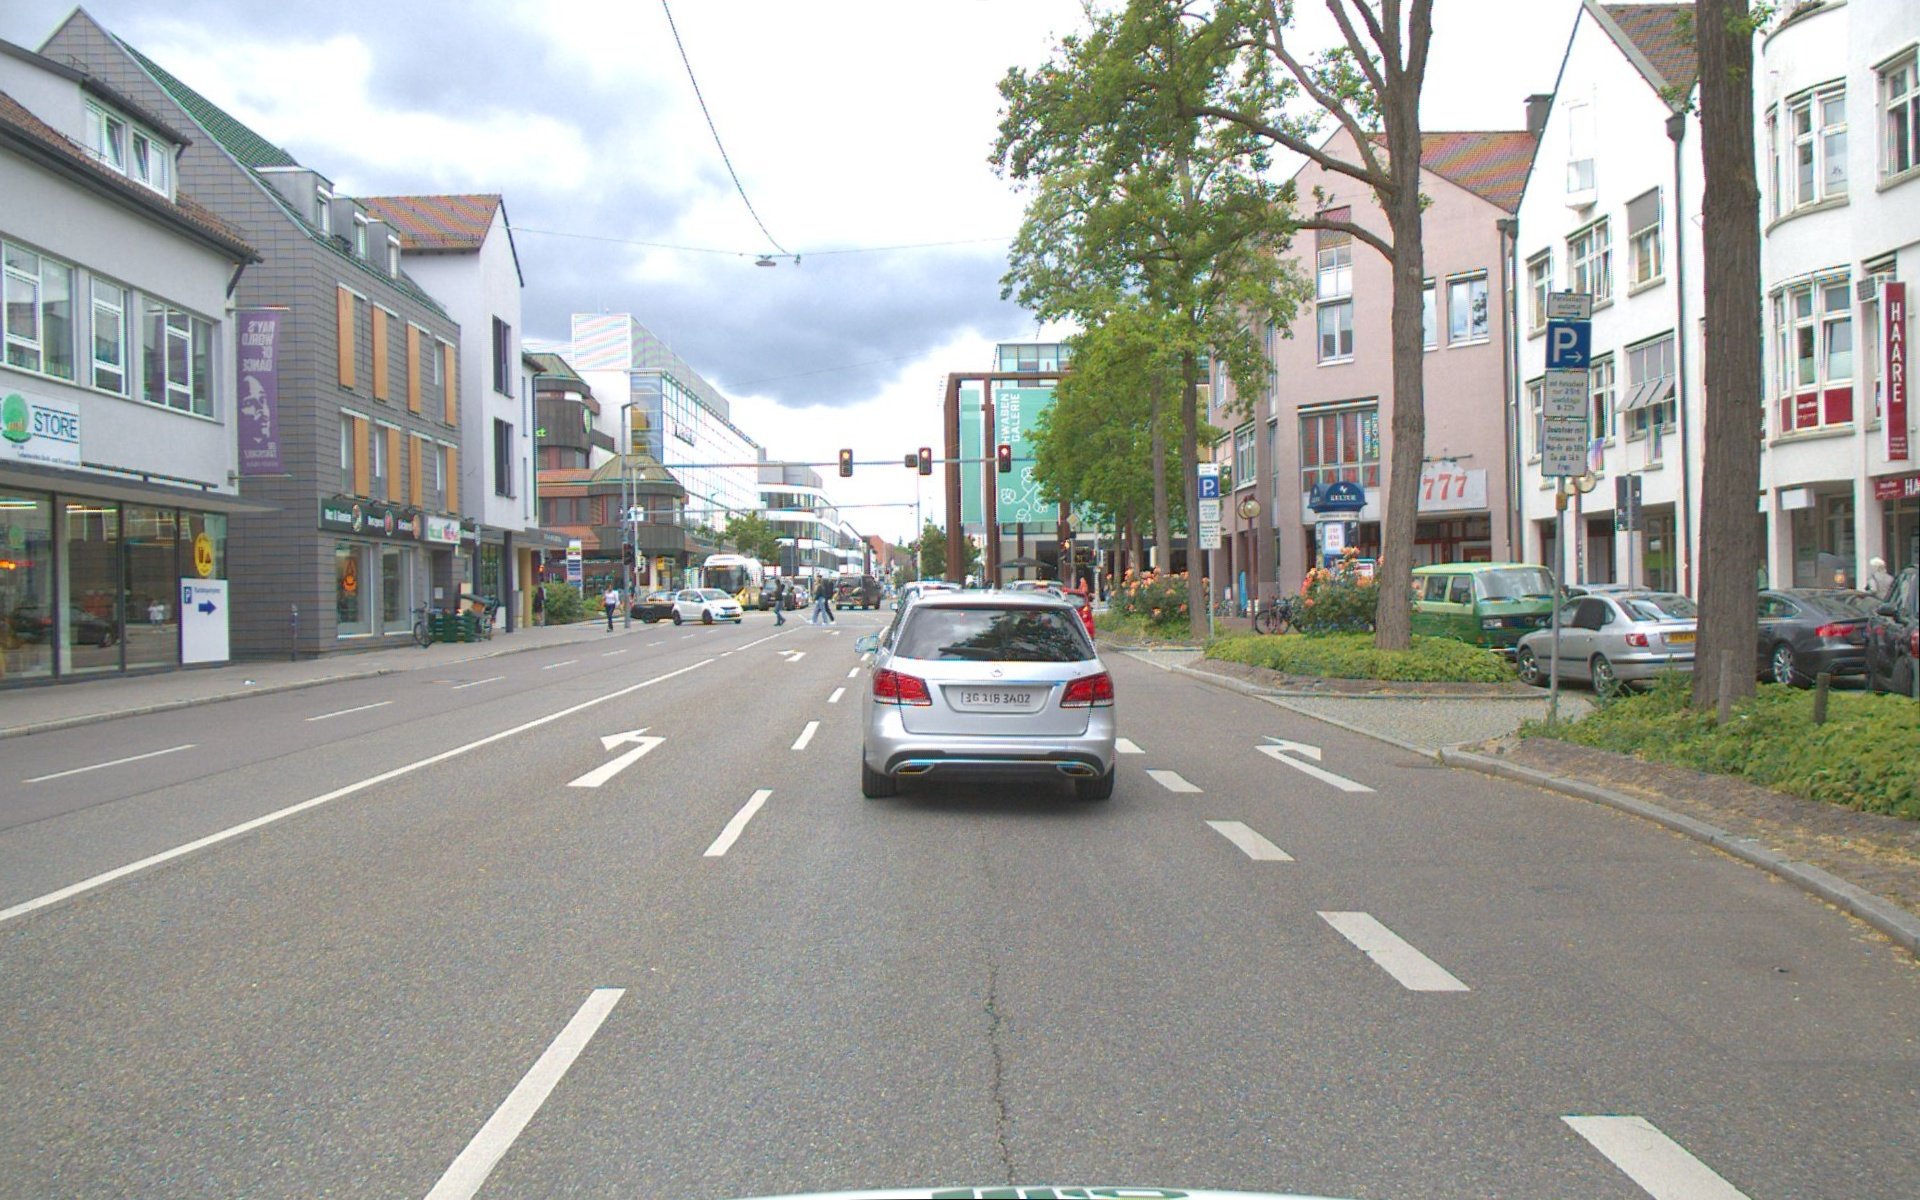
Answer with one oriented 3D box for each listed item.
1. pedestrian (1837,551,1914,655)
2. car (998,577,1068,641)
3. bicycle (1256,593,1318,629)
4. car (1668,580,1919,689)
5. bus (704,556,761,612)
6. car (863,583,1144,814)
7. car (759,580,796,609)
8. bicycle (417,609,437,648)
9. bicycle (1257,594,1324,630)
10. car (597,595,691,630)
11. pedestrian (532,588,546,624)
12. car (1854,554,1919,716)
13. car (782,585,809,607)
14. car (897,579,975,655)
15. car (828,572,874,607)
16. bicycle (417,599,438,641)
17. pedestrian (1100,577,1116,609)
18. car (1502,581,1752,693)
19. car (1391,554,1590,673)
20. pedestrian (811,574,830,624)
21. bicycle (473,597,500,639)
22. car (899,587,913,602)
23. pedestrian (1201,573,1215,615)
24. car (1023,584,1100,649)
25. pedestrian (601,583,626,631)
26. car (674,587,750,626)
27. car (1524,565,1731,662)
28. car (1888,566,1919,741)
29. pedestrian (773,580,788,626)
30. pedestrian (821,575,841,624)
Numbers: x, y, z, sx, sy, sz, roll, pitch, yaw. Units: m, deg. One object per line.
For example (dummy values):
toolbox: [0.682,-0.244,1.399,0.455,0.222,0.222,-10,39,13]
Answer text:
pedestrian: [15.426,0.043,27.874,0.773,1.688,0.819,-3,0,-2]
car: [1.978,0.211,45.773,1.555,1.662,3.914,1,0,-3]
bicycle: [9.569,0.315,48.401,1.731,1.014,0.447,-1,0,3]
car: [12.503,0.442,24.449,1.957,1.400,4.417,-2,1,-3]
bus: [-14.059,-1.007,102.710,2.633,3.318,8.650,-1,1,-2]
car: [0.160,0.629,12.909,1.779,1.474,4.366,1,0,-4]
car: [-11.018,-0.337,100.150,1.953,1.735,4.063,-1,1,-2]
bicycle: [-13.624,0.718,42.280,0.320,0.970,1.479,-1,0,-12]
bicycle: [9.555,0.347,47.855,1.861,1.014,0.468,-1,0,3]
car: [-14.855,0.590,77.902,4.102,1.557,1.790,-1,0,-1]
pedestrian: [-17.561,0.248,68.975,0.440,1.453,0.441,-1,0,-1]
car: [11.660,0.303,19.437,1.817,1.699,4.659,-2,1,27]
car: [-10.715,-0.254,107.592,1.524,1.416,3.286,-1,1,-2]
car: [-0.530,0.328,35.804,1.606,1.554,3.393,0,1,-1]
car: [-6.449,-0.651,98.328,1.951,1.983,4.954,-1,1,5]
bicycle: [-15.010,0.544,46.618,0.379,1.147,1.286,-1,1,-11]
pedestrian: [7.918,-0.389,88.542,0.641,1.679,0.557,-1,0,-16]
car: [9.725,0.479,24.513,1.727,1.476,4.417,-1,1,-3]
car: [9.410,0.199,29.775,1.843,1.909,4.603,-2,1,-3]
pedestrian: [-5.146,-0.035,60.899,0.633,1.821,0.684,-1,0,-1]
bicycle: [-14.097,0.521,49.227,0.379,1.207,1.824,-1,1,-4]
car: [-6.554,-0.691,199.443,1.681,1.735,4.063,-1,1,-2]
pedestrian: [10.828,-0.255,72.218,0.557,1.806,0.647,-1,0,2]
car: [2.402,0.372,39.768,1.554,1.468,3.348,1,0,-1]
pedestrian: [-12.050,0.244,57.564,0.713,1.638,0.753,-1,0,-1]
car: [-10.244,0.286,68.234,1.564,1.514,3.414,-2,1,-40]
car: [12.007,0.205,30.074,1.760,1.569,4.392,-2,1,-3]
car: [10.043,0.497,13.548,1.954,1.623,4.760,-1,1,-4]
pedestrian: [-6.686,0.109,61.596,0.547,1.679,0.653,-1,0,-7]
pedestrian: [-4.790,-0.019,61.517,0.631,1.806,0.570,-1,0,2]
